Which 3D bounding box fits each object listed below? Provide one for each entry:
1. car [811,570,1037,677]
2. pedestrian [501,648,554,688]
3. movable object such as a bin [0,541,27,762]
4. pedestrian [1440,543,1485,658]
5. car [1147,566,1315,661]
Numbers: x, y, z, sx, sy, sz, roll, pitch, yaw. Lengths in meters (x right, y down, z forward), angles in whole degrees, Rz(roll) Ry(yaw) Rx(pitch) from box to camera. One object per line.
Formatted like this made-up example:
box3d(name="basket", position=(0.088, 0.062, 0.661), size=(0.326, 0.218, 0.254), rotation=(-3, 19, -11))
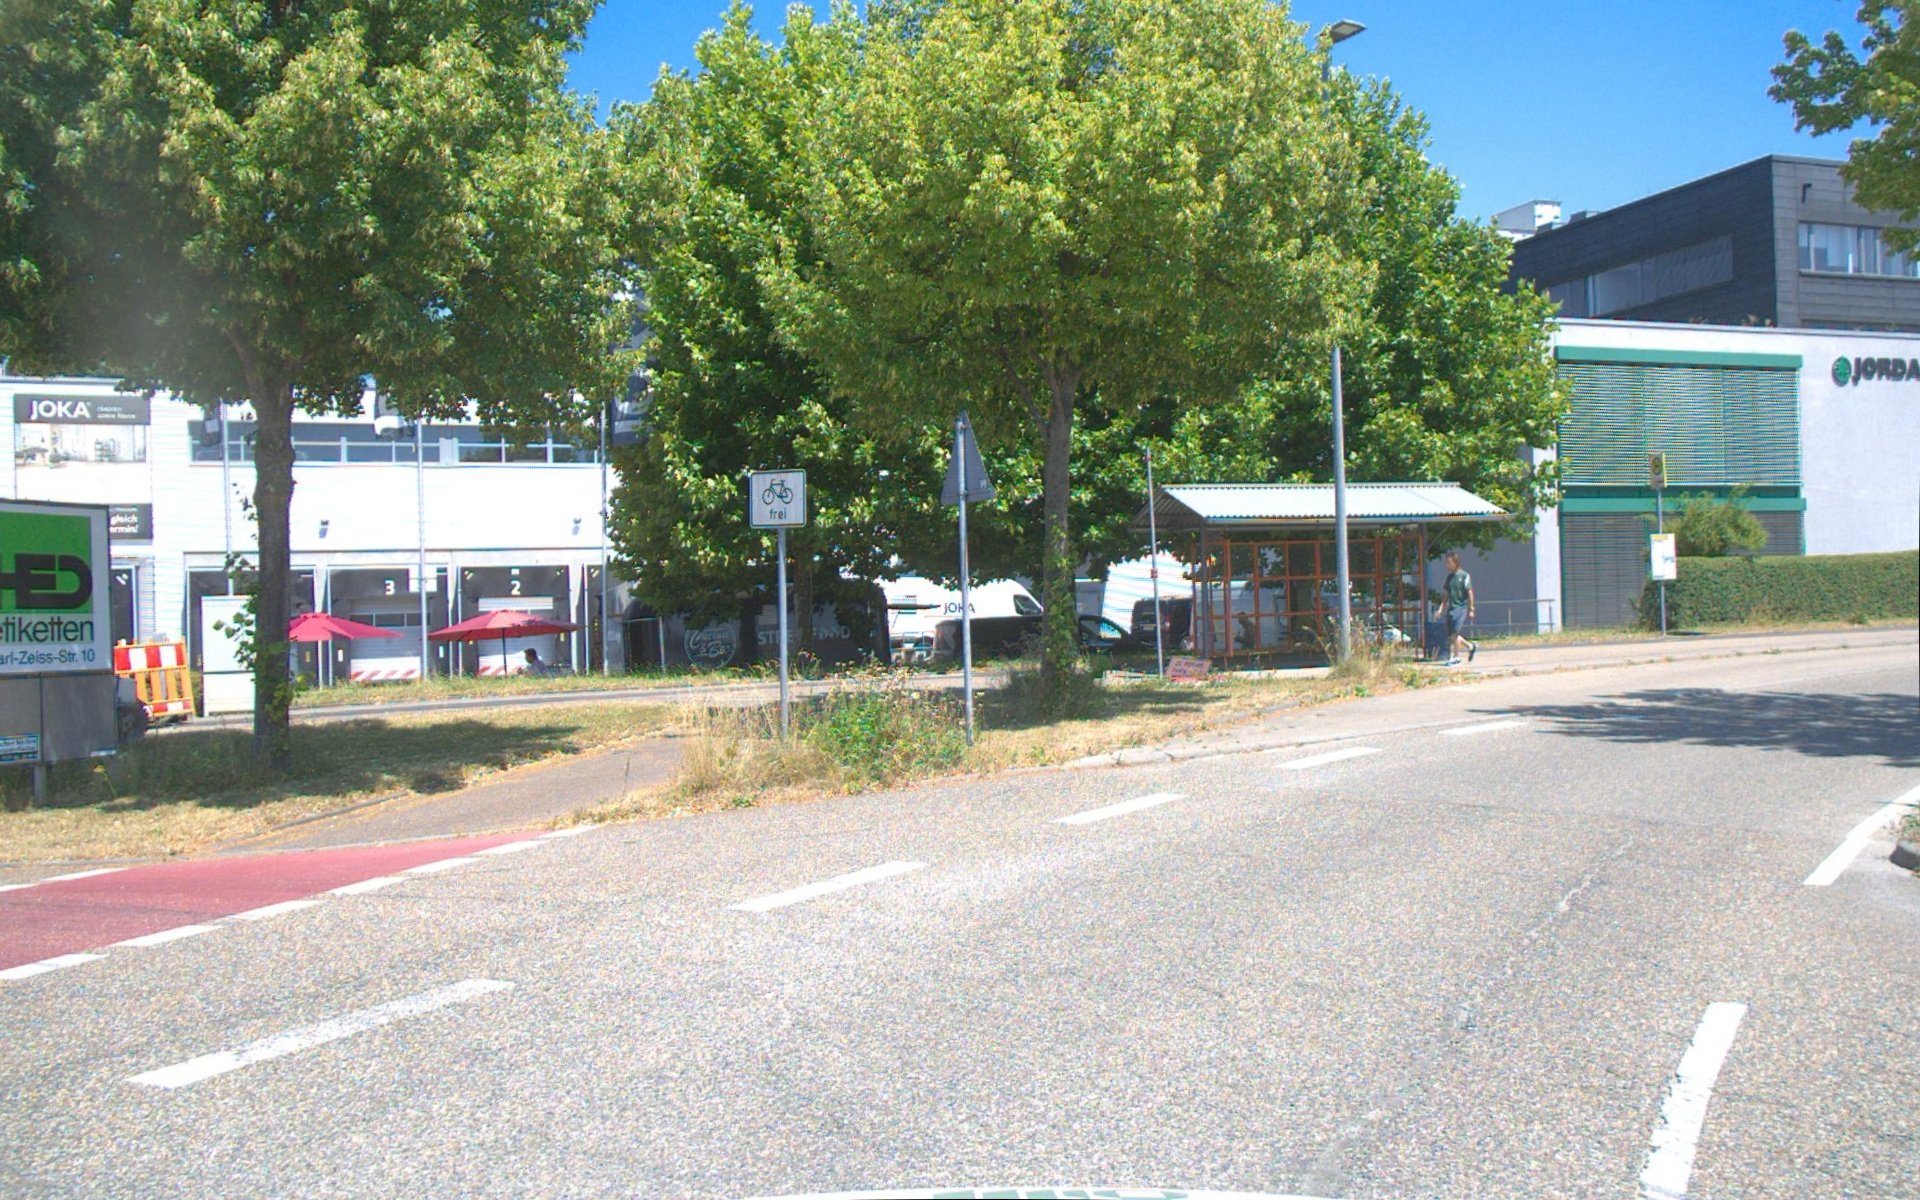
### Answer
box3d(name="car", position=(-0.712, 0.444, 31.883), size=(3.927, 1.758, 1.830), rotation=(-3, -1, -19))
box3d(name="pedestrian", position=(-8.226, 1.294, 31.458), size=(0.846, 0.707, 0.408), rotation=(-3, -1, 3))
box3d(name="movable object such as a bin", position=(-14.384, 0.835, 18.451), size=(6.451, 2.625, 1.991), rotation=(-5, -1, -16))
box3d(name="pedestrian", position=(7.593, 0.020, 25.022), size=(0.518, 1.699, 0.580), rotation=(-1, -3, 7))
box3d(name="car", position=(6.274, 0.375, 38.793), size=(1.528, 2.049, 4.220), rotation=(1, -3, -31))
